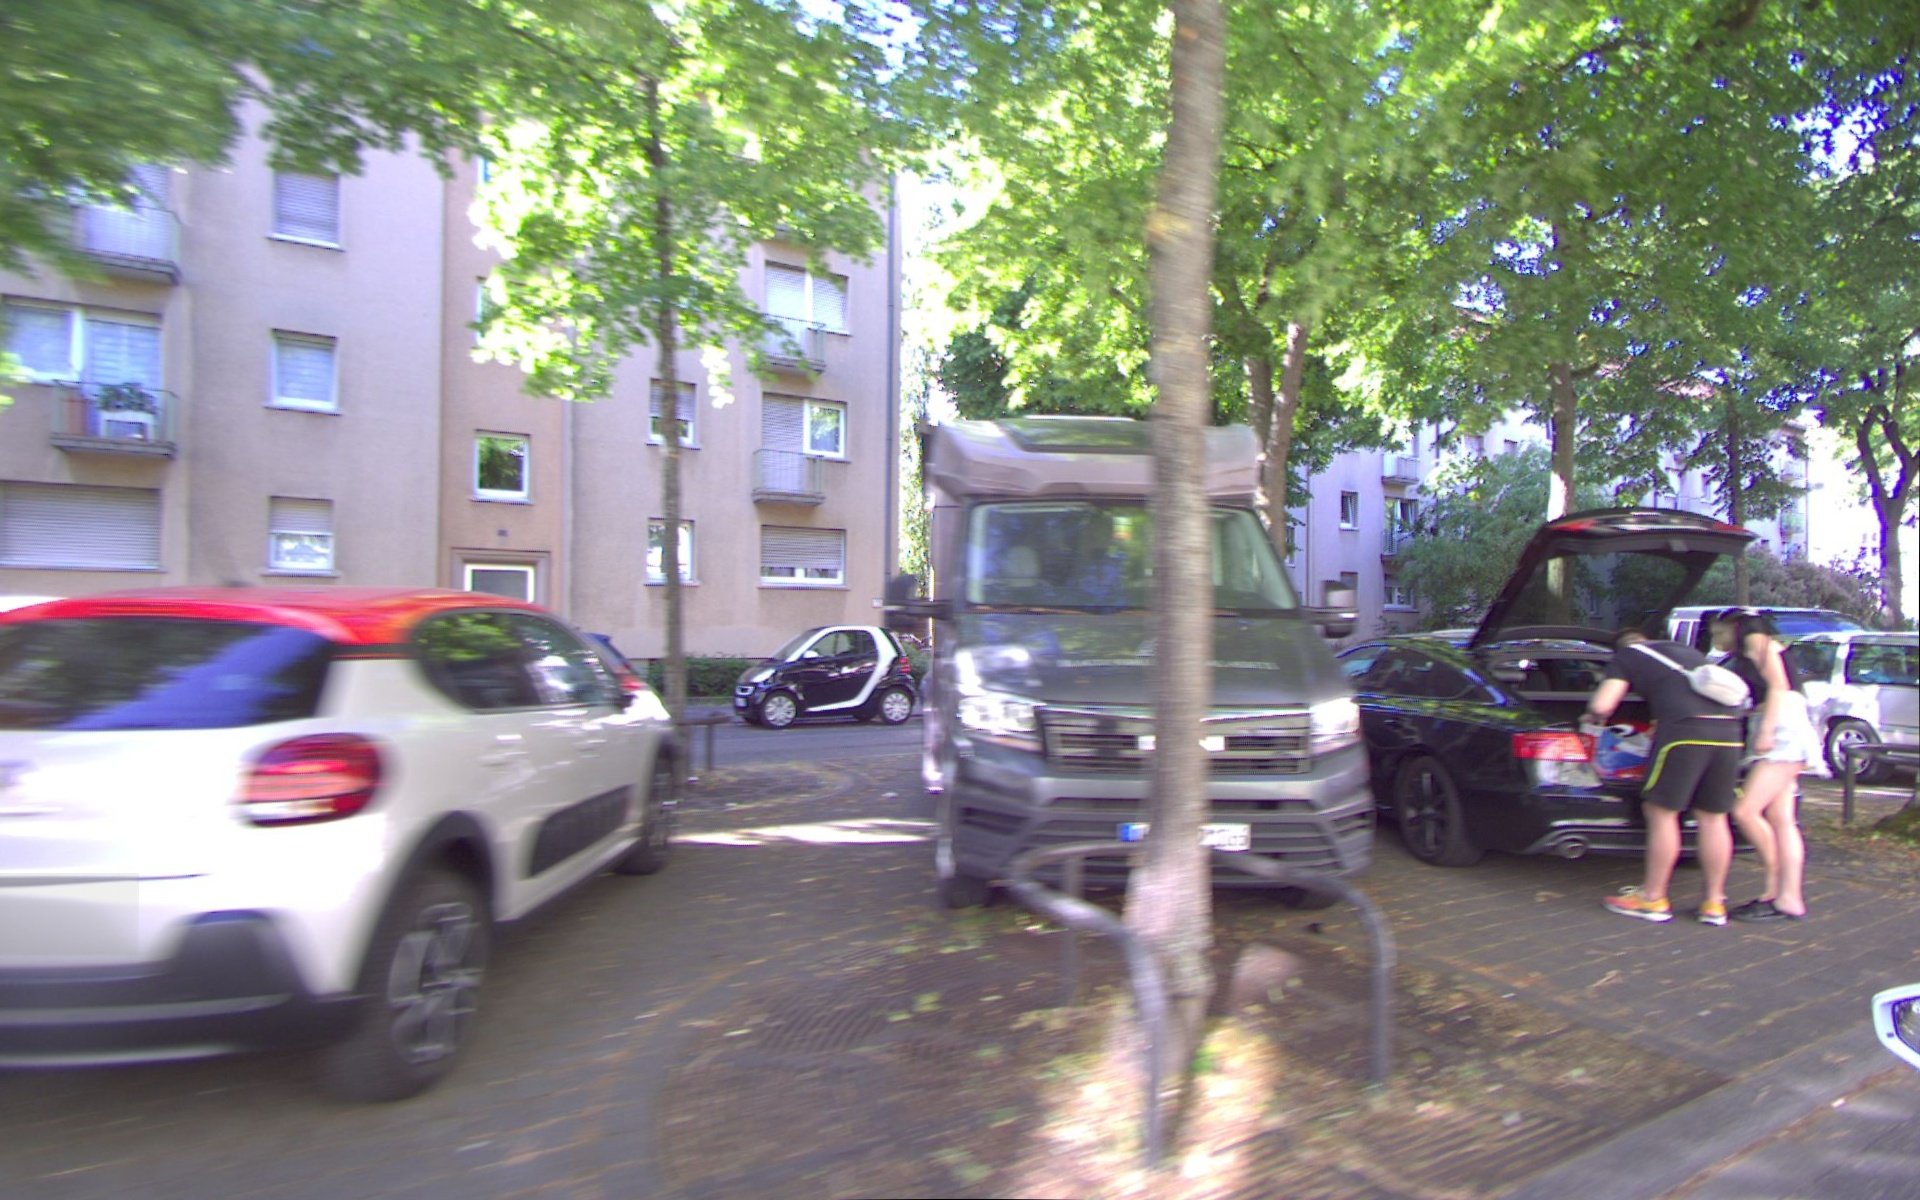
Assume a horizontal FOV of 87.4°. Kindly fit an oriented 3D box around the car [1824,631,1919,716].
[{"bbox_3d":[17.592,1.299,17.506,1.687,1.449,4.000,1,-1,1],"label":"car"}]

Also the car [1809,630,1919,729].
[{"bbox_3d":[15.209,1.193,14.908,1.810,1.462,3.956,1,-1,-2],"label":"car"}]

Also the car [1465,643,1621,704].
[{"bbox_3d":[15.298,1.864,26.315,4.311,1.443,1.656,1,-1,-30],"label":"car"}]

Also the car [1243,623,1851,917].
[{"bbox_3d":[3.549,0.896,7.166,1.643,1.443,4.328,1,-1,-3],"label":"car"}]

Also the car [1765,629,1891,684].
[{"bbox_3d":[30.360,1.947,35.099,4.788,1.827,1.809,1,-3,-30],"label":"car"}]

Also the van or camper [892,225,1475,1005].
[{"bbox_3d":[0.713,0.158,7.506,2.269,2.968,7.248,0,-2,-3],"label":"van or camper"}]

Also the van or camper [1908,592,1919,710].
[{"bbox_3d":[20.220,0.938,17.336,2.179,2.305,5.512,0,-2,-6],"label":"van or camper"}]

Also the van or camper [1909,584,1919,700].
[{"bbox_3d":[23.267,0.891,20.497,2.211,2.672,5.888,0,-2,0],"label":"van or camper"}]

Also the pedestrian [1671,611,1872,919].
[{"bbox_3d":[4.133,0.799,5.152,0.510,1.475,0.616,1,-1,-7],"label":"pedestrian"}]

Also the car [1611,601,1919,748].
[{"bbox_3d":[11.779,0.961,14.547,1.774,1.787,4.561,1,-1,0],"label":"car"}]

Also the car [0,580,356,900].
[{"bbox_3d":[-5.379,0.687,5.584,1.722,1.527,3.546,0,-2,4],"label":"car"}]

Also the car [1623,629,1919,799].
[{"bbox_3d":[9.370,1.064,10.798,1.698,1.462,4.491,1,-1,3],"label":"car"}]

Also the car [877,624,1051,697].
[{"bbox_3d":[0.117,1.296,22.331,3.569,1.501,1.617,1,-2,-30],"label":"car"}]

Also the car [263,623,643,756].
[{"bbox_3d":[-6.609,1.094,13.415,4.259,1.528,1.755,1,-2,-30],"label":"car"}]

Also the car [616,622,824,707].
[{"bbox_3d":[-4.567,1.181,19.216,3.569,1.501,1.617,1,-2,-30],"label":"car"}]

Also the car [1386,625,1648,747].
[{"bbox_3d":[7.518,1.090,13.966,1.642,1.443,3.574,1,-1,-1],"label":"car"}]

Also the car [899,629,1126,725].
[{"bbox_3d":[0.953,1.286,17.776,3.725,1.519,1.656,1,-1,-30],"label":"car"}]

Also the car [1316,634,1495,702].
[{"bbox_3d":[10.366,1.523,23.280,4.246,1.443,1.656,1,-1,-30],"label":"car"}]

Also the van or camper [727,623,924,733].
[{"bbox_3d":[-2.108,1.157,15.727,2.666,1.575,1.589,1,-2,-30],"label":"van or camper"}]

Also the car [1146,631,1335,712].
[{"bbox_3d":[5.828,1.425,20.778,3.725,1.519,1.656,1,-1,-30],"label":"car"}]

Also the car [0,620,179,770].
[{"bbox_3d":[-11.204,0.972,10.540,4.480,1.528,1.984,1,-2,-30],"label":"car"}]

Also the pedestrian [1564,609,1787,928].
[{"bbox_3d":[3.563,0.794,5.050,0.585,1.475,0.711,1,-1,-7],"label":"pedestrian"}]

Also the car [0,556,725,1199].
[{"bbox_3d":[-2.325,0.717,4.356,1.723,1.527,4.000,0,-2,-1],"label":"car"}]
